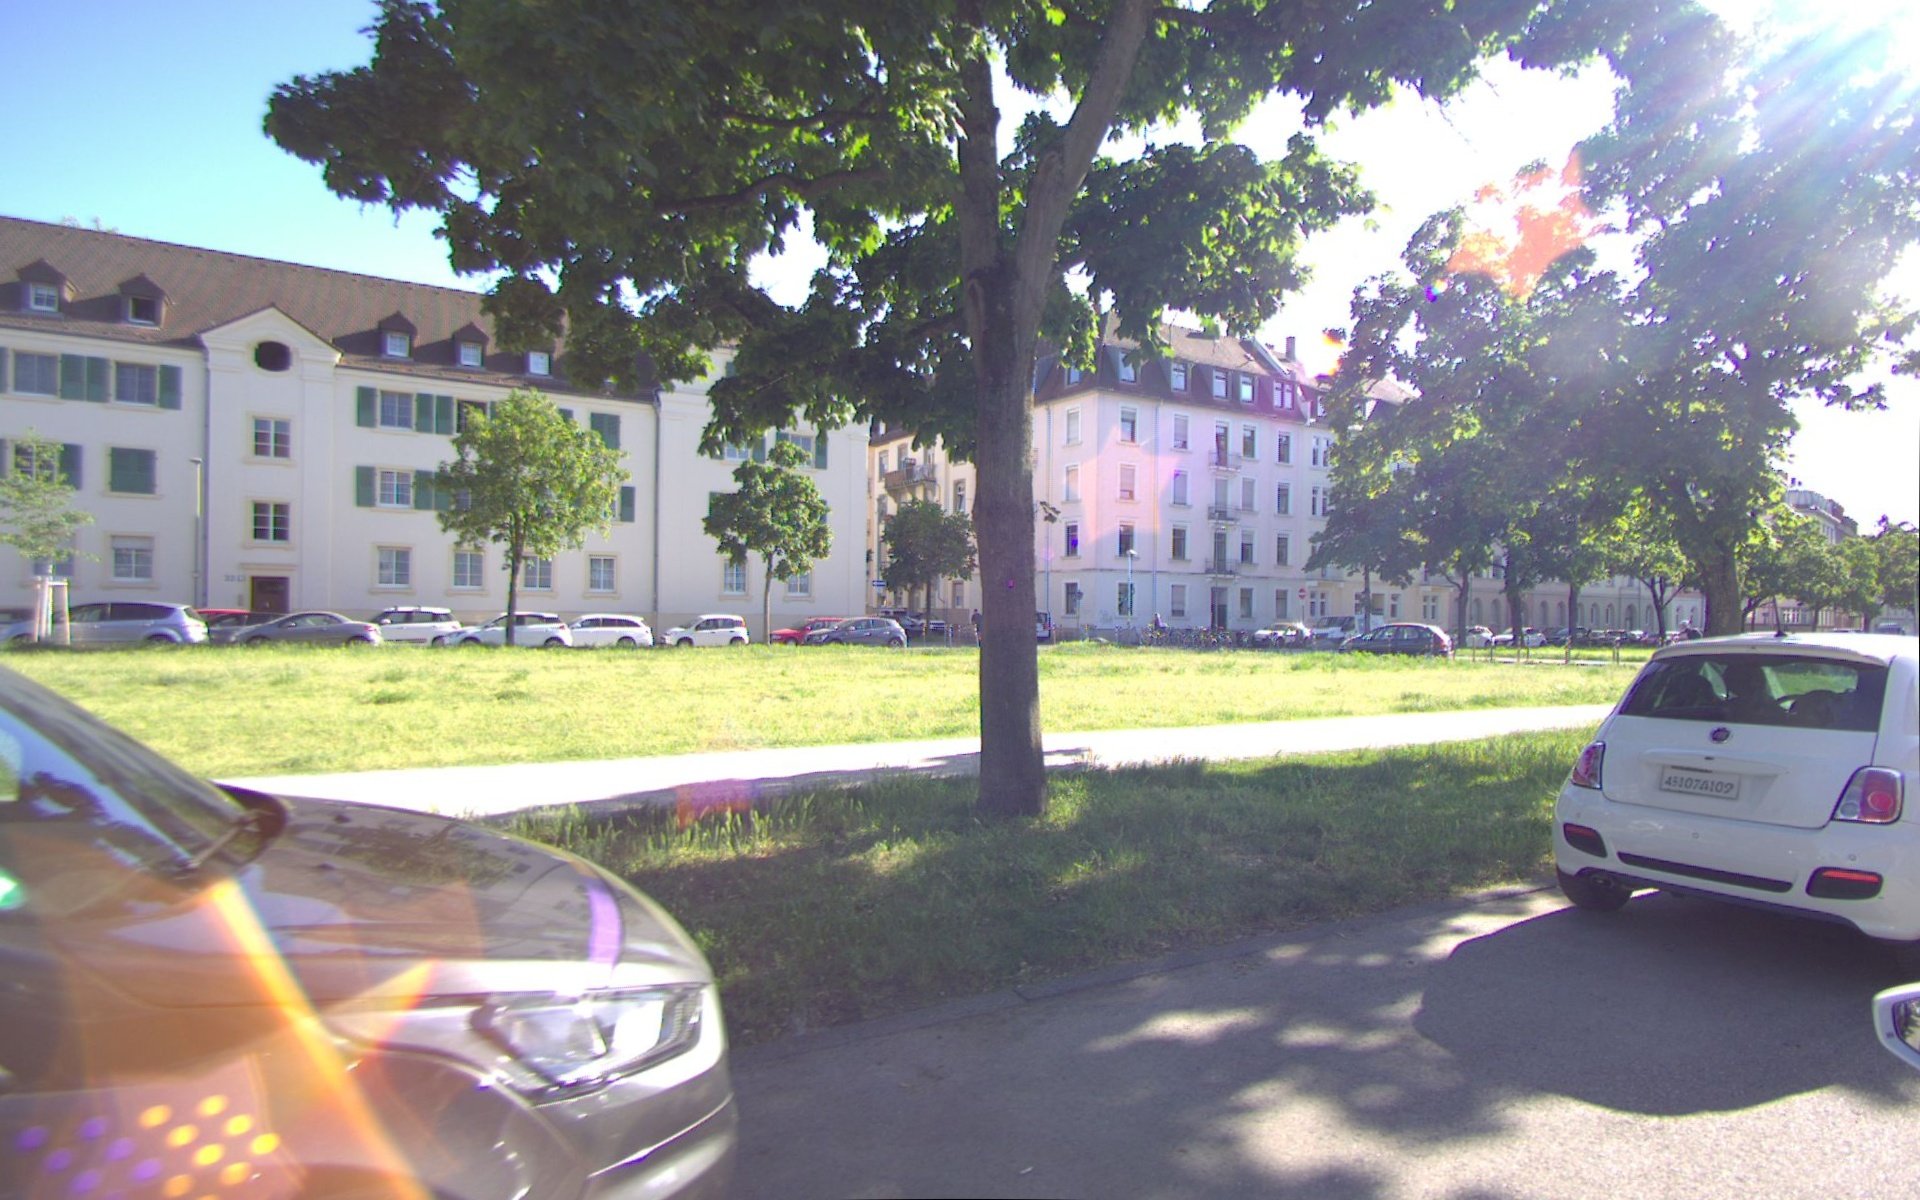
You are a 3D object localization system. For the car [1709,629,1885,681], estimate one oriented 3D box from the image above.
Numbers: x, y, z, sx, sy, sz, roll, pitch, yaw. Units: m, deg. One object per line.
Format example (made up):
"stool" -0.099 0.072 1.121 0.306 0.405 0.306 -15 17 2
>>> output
"car" 27.243 1.737 32.911 4.278 1.428 1.913 1 1 36

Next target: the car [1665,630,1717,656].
"car" 55.481 3.244 76.240 4.413 1.933 1.726 2 -1 -33

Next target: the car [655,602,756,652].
"car" -10.869 1.152 42.930 3.852 2.040 1.657 2 -1 -31

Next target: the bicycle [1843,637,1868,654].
"bicycle" 74.496 3.810 83.564 2.606 1.269 0.805 4 0 -32

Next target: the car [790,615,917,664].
"car" -4.288 1.573 40.618 4.653 1.844 2.146 2 -1 -32

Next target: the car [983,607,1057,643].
"car" 3.526 1.454 59.510 2.118 2.040 4.535 1 -1 -33

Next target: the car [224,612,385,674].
"car" -20.183 1.306 31.165 3.960 1.773 2.307 1 -1 -29

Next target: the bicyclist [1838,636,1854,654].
"bicyclist" 72.514 3.678 82.217 0.931 1.456 0.734 1 0 -30

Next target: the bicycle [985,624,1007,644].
"bicycle" 1.924 1.805 53.573 0.523 1.030 1.477 1 -1 -28

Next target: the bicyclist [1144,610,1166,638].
"bicyclist" 9.762 1.188 50.294 0.863 1.382 0.622 1 0 35

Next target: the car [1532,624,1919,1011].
"car" 4.938 0.919 5.518 3.644 1.512 1.578 2 -3 -32

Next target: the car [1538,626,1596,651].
"car" 40.528 2.577 67.012 4.308 1.570 1.622 2 -1 -33

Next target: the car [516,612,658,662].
"car" -15.054 1.474 40.656 5.099 1.911 2.143 1 -1 -31

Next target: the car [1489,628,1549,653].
"car" 35.899 2.612 64.464 4.037 1.547 1.684 2 -1 -33

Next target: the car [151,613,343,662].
"car" -22.994 1.220 32.685 4.902 1.504 1.984 2 -2 -31

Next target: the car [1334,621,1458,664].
"car" 17.533 1.690 40.452 4.278 1.597 1.922 0 -1 36

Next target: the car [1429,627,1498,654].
"car" 30.778 2.470 61.346 4.647 1.582 1.684 2 -1 -33

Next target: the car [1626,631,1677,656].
"car" 50.370 3.168 73.143 4.037 1.709 1.622 2 -1 -33

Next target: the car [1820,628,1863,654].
"car" 79.504 3.675 90.582 4.954 2.243 1.684 2 -1 -33

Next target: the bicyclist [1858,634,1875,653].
"bicyclist" 73.403 3.528 81.337 0.932 1.456 0.734 2 -2 -30

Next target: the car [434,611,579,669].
"car" -15.363 1.323 34.052 4.211 1.844 2.223 2 -1 -32

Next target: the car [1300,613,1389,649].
"car" 21.562 1.736 56.222 5.043 1.897 2.070 2 -1 -33

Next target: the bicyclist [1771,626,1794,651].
"bicyclist" 62.679 2.922 76.543 1.432 1.861 0.937 2 -2 -30

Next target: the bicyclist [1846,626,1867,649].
"bicyclist" 74.547 3.081 83.527 1.433 1.861 0.936 2 -2 -31

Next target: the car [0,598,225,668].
"car" -24.474 0.920 28.609 5.387 1.844 2.440 1 -1 -29

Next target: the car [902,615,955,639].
"car" -2.167 1.830 68.452 1.918 1.589 3.846 1 -1 -33

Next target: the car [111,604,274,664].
"car" -25.939 1.146 34.165 4.120 1.930 2.251 1 -1 -32

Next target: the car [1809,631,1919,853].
"car" 8.661 1.014 7.855 4.616 1.511 1.746 2 -3 -32

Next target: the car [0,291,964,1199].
"car" -2.595 0.546 1.171 4.933 1.808 1.855 2 -1 -30

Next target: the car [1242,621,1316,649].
"car" 19.418 2.126 61.078 4.406 1.608 1.981 2 -1 -34

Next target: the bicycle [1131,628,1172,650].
"bicycle" 9.613 1.962 50.412 1.950 1.030 0.656 1 -1 36

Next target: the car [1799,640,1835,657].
"car" 74.684 4.223 87.508 3.197 1.459 1.508 2 -1 -33

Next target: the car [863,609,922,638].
"car" -4.906 1.684 72.566 1.980 2.000 5.004 1 -1 -34

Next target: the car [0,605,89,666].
"car" -30.864 1.063 31.266 5.193 1.844 2.440 1 -1 -29

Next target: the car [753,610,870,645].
"car" -6.699 1.240 45.543 4.902 1.504 1.984 2 -2 -31

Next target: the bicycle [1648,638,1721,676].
"bicycle" 26.896 2.100 37.310 2.122 1.275 0.711 1 -1 41

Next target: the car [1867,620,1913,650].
"car" 89.956 3.403 97.119 5.564 2.780 1.905 2 -1 -33

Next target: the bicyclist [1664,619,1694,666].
"bicyclist" 26.794 1.571 37.414 0.866 1.713 0.629 0 -1 41

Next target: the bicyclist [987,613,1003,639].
"bicyclist" 1.858 1.373 53.707 0.527 1.382 0.780 1 0 -28

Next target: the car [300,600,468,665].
"car" -21.222 1.187 37.167 5.200 2.245 2.517 2 -1 -32

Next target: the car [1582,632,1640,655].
"car" 45.642 3.032 70.358 4.479 1.570 1.746 2 -1 -33

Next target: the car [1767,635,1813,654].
"car" 70.688 3.782 85.528 3.730 1.459 1.837 2 -1 -30
